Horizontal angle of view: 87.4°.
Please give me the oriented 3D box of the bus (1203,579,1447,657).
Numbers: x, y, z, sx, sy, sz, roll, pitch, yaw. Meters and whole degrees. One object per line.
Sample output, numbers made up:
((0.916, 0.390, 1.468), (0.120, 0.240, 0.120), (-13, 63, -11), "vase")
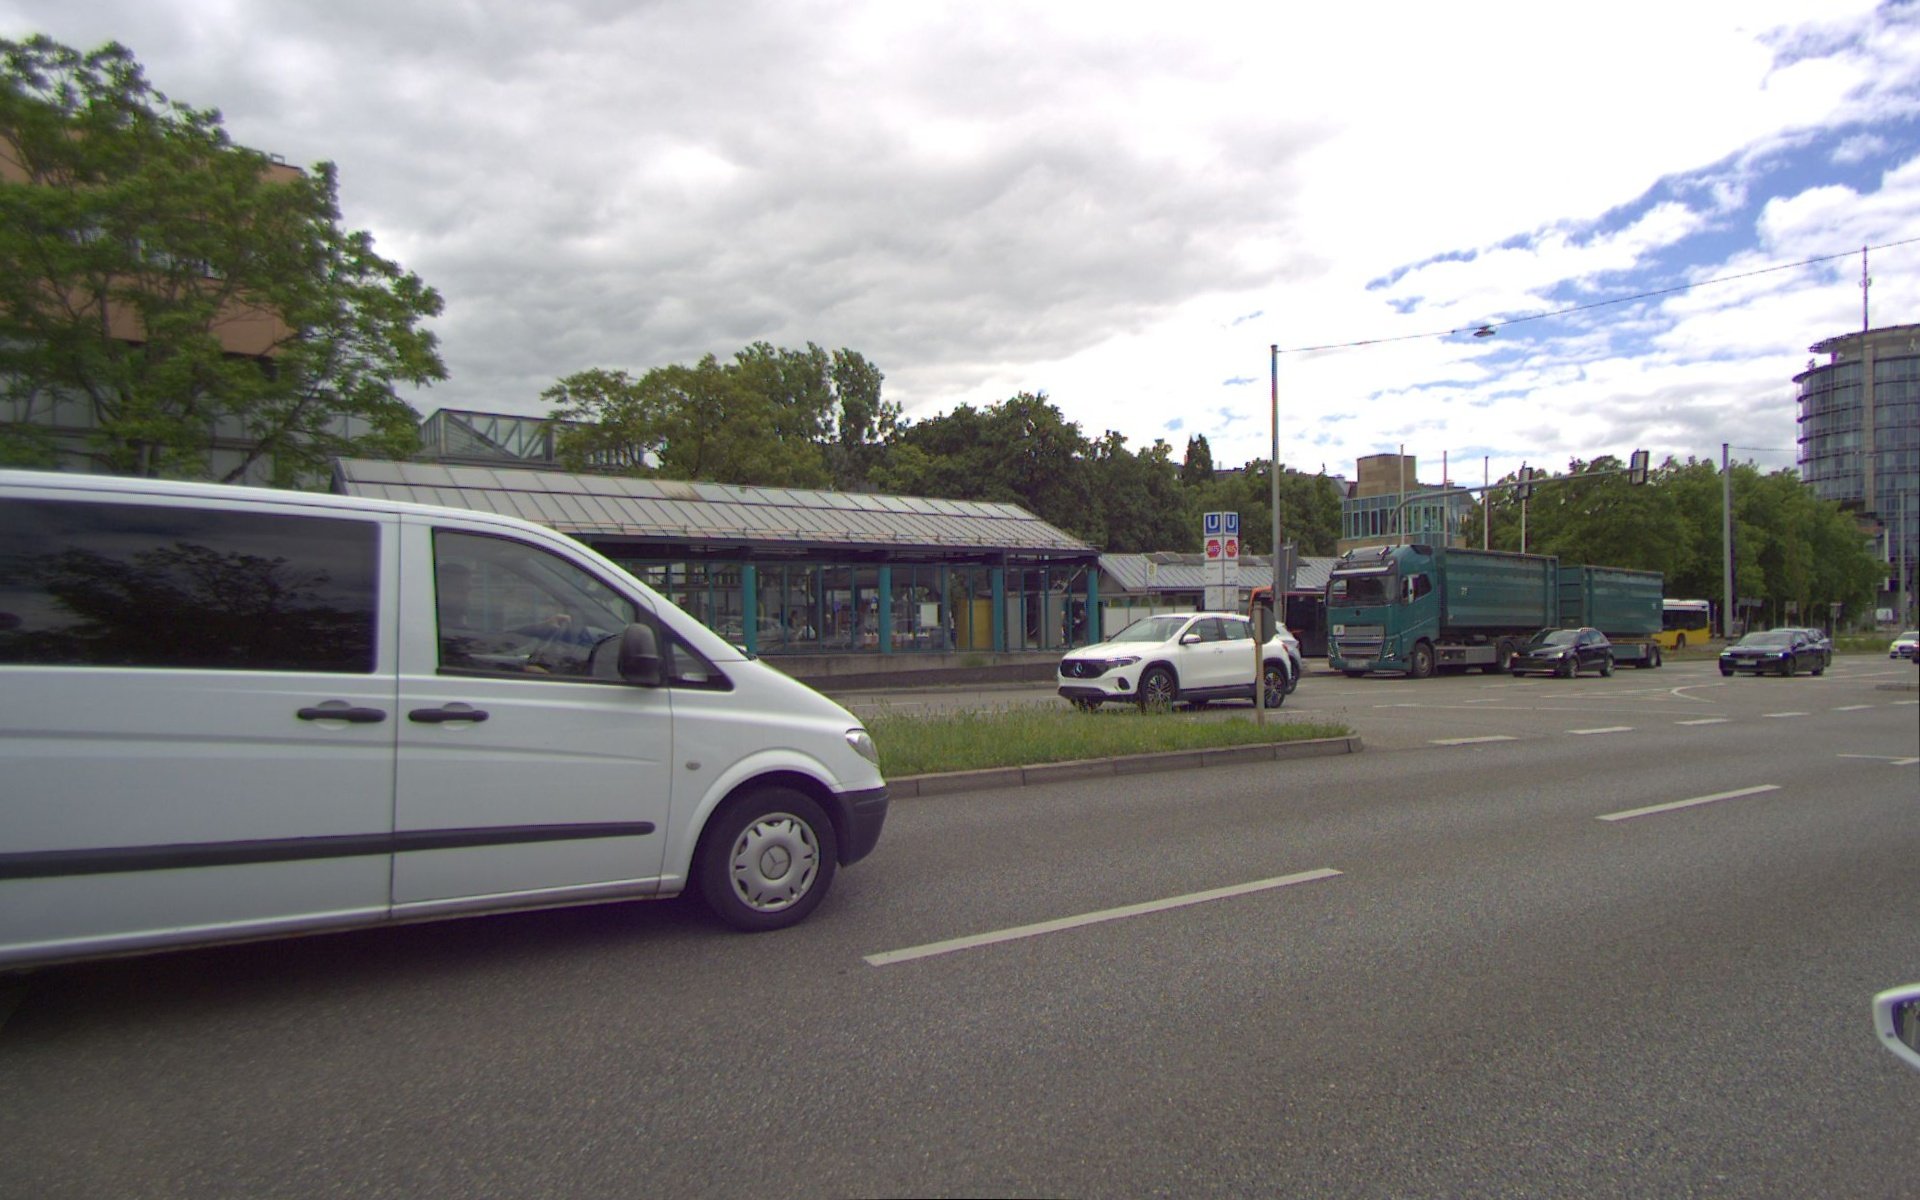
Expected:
((16.618, 0.881, 45.282), (12.004, 3.175, 2.946), (2, -1, -27), "bus")

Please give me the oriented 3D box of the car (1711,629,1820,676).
((25.659, 1.630, 31.955), (4.410, 1.350, 1.976), (2, -2, -41), "car")

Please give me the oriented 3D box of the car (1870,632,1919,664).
((50.728, 2.557, 53.881), (3.959, 1.595, 1.981), (2, -2, -34), "car")

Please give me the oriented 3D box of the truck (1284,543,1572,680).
((15.378, 0.456, 32.400), (11.169, 3.777, 3.345), (2, -1, -36), "truck")

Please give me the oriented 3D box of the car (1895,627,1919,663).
((42.574, 1.946, 43.717), (3.960, 1.536, 1.981), (2, -2, -35), "car")

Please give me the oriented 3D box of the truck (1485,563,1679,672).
((23.944, 0.736, 38.549), (7.942, 3.776, 3.348), (2, -2, -34), "truck")

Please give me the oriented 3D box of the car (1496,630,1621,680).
((18.123, 1.626, 30.365), (3.960, 1.436, 1.786), (2, -2, -35), "car")

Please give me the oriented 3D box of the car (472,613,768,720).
((-5.679, 1.067, 17.017), (4.459, 1.595, 1.722), (2, -2, -34), "car")

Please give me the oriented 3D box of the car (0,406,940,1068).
((-2.698, 0.454, 4.380), (5.020, 2.040, 1.863), (1, -2, -32), "car")

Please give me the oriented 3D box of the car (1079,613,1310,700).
((4.993, 1.162, 20.960), (5.219, 1.606, 1.754), (2, -4, -37), "car")

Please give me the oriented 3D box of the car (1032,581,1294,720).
((3.436, 0.803, 16.752), (4.136, 2.040, 1.981), (2, -2, -34), "car")
